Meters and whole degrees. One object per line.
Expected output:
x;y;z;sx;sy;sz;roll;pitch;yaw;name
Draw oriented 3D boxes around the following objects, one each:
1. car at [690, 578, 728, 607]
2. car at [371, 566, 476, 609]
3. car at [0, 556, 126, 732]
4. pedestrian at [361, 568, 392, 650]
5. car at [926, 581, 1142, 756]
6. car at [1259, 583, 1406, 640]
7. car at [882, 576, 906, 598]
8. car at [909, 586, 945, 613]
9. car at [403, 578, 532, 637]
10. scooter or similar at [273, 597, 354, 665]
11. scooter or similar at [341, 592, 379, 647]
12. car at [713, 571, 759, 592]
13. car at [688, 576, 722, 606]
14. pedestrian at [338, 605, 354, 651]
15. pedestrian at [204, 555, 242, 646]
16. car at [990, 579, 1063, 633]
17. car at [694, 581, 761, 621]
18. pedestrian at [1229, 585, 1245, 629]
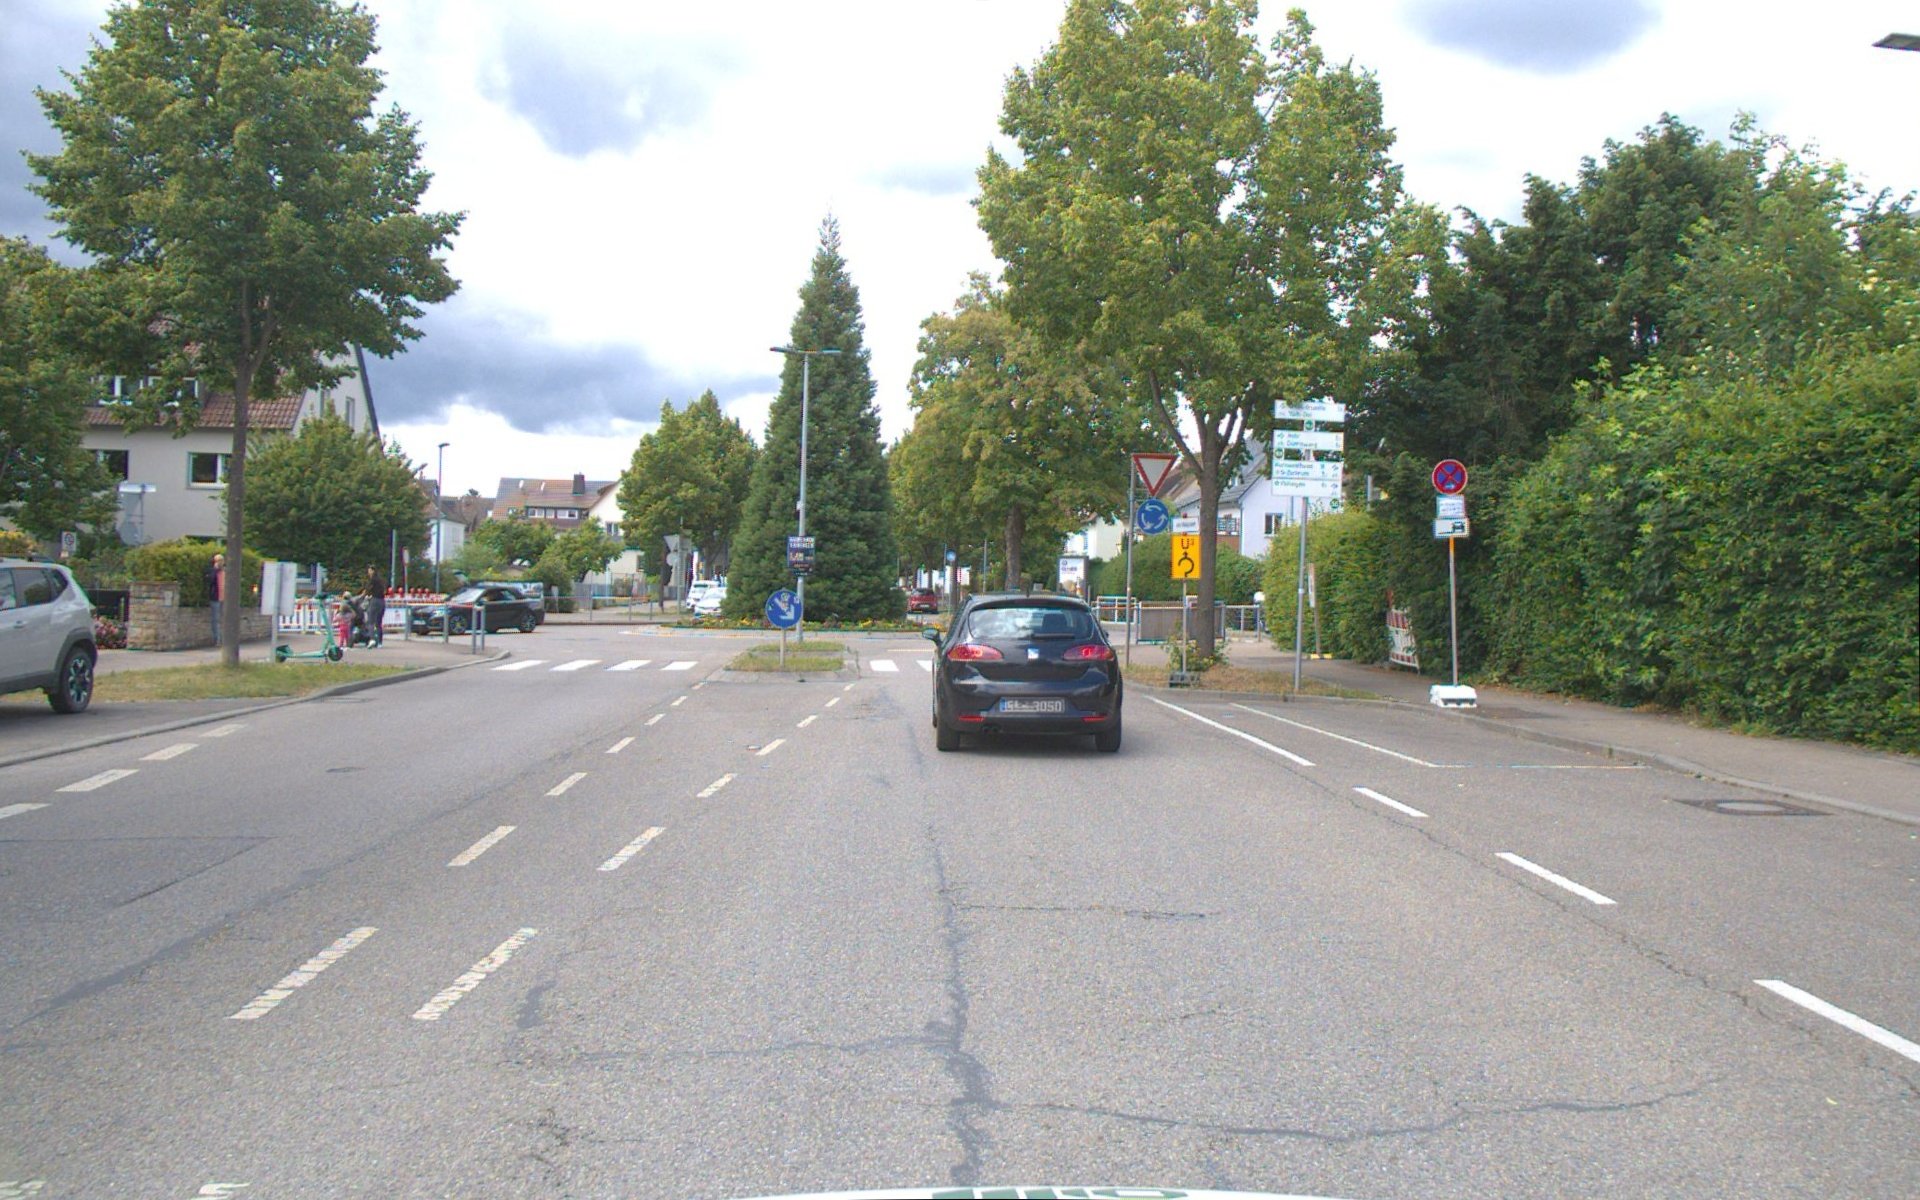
-14.157;-0.429;93.574;1.762;1.629;3.997;0;1;-3;car
-20.787;-0.477;64.191;3.514;1.639;1.600;0;0;1;car
-10.126;0.398;16.302;1.824;1.682;4.291;1;0;-4;car
-12.249;0.188;34.718;0.477;1.699;0.509;1;0;-36;pedestrian
0.611;0.585;16.368;1.698;1.512;3.997;0;0;-4;car
11.889;0.355;52.947;4.309;1.690;1.649;2;0;-2;car
-4.719;-0.924;117.422;1.563;1.536;3.597;0;0;-5;car
-1.908;-0.015;95.703;1.449;1.515;3.371;1;0;-12;car
-14.422;0.200;48.610;1.539;1.662;3.616;1;0;29;car
-11.228;0.525;28.733;1.272;1.158;0.343;0;0;-34;scooter or similar
-12.767;0.415;35.177;0.403;1.114;0.956;3;0;-40;scooter or similar
-21.445;-1.803;158.508;3.902;2.005;2.038;0;0;16;car
-17.185;-0.607;111.633;1.990;2.005;3.996;0;0;-5;car
-12.329;0.556;33.195;0.236;0.910;0.256;1;0;-34;pedestrian
-14.905;0.010;33.443;0.558;1.815;0.532;1;0;-42;pedestrian
2.106;0.178;53.497;1.954;1.641;3.998;1;0;-3;car
-9.428;0.024;67.345;1.830;1.588;4.262;0;0;4;car
10.016;0.253;59.741;0.480;1.560;0.485;1;0;20;pedestrian
